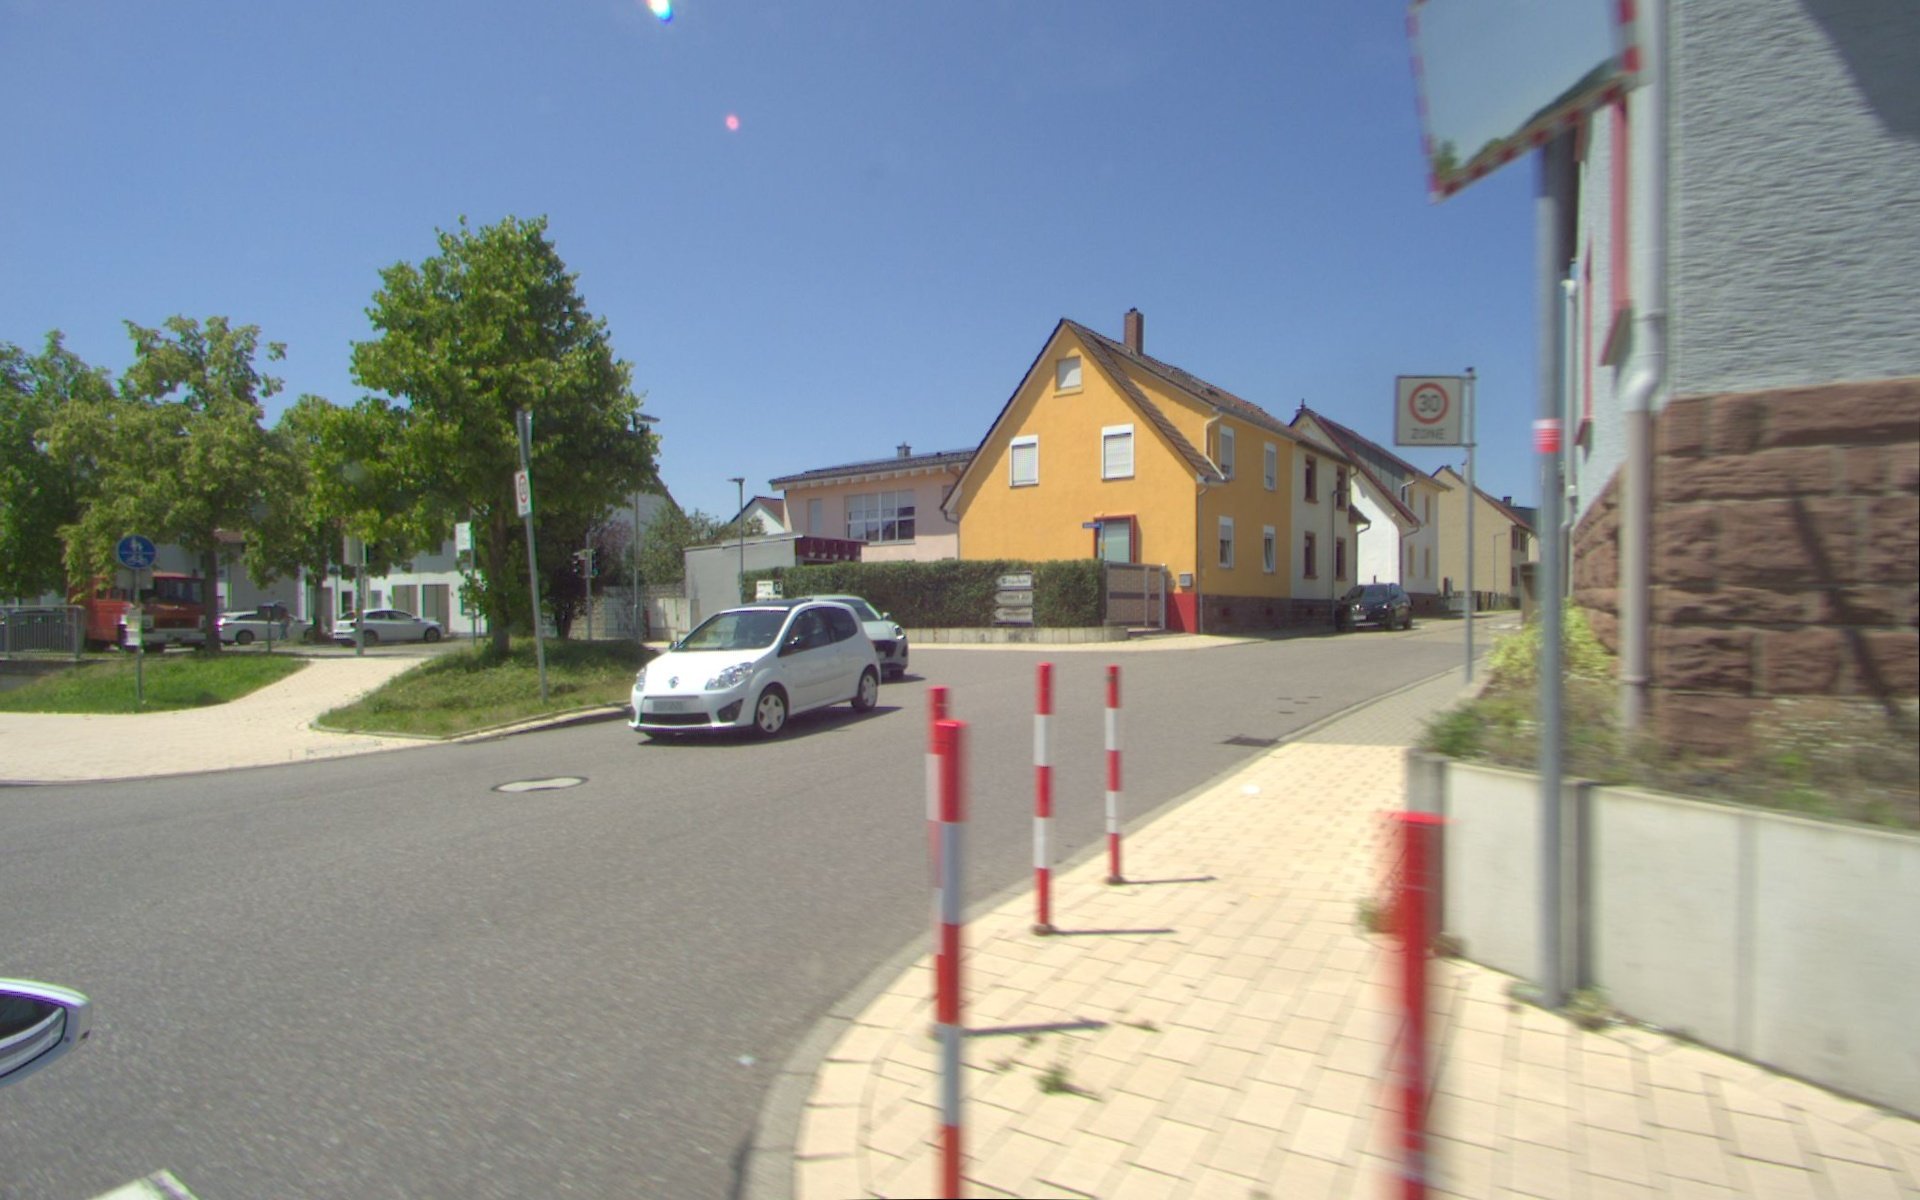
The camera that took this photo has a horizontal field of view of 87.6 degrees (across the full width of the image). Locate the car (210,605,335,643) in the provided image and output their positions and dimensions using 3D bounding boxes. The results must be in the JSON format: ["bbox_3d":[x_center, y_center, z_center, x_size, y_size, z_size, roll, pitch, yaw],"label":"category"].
[{"bbox_3d":[-31.663,1.074,46.230,1.732,1.510,4.395,-1,1,32],"label":"car"}]

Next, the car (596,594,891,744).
[{"bbox_3d":[-2.403,0.718,12.062,1.745,1.498,3.673,-2,0,20],"label":"car"}]

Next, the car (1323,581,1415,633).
[{"bbox_3d":[13.942,0.229,34.027,1.974,1.617,3.973,-2,0,36],"label":"car"}]

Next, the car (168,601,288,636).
[{"bbox_3d":[-35.760,0.868,49.038,1.732,1.510,4.395,-1,1,32],"label":"car"}]

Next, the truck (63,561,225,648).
[{"bbox_3d":[-24.247,0.175,29.722,5.183,2.365,2.129,-1,-1,31],"label":"truck"}]

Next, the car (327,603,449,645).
[{"bbox_3d":[-23.163,0.951,40.672,1.732,1.498,3.928,-1,1,32],"label":"car"}]

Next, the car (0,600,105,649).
[{"bbox_3d":[-30.180,0.780,32.040,1.724,1.518,3.978,-1,-1,33],"label":"car"}]

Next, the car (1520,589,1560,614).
[{"bbox_3d":[39.999,0.076,69.035,1.974,1.617,3.973,-2,0,36],"label":"car"}]

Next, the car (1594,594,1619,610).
[{"bbox_3d":[69.864,0.222,108.192,1.974,1.617,3.973,-2,0,36],"label":"car"}]

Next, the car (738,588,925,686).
[{"bbox_3d":[-2.517,0.629,18.774,1.752,1.556,4.098,-4,2,-35],"label":"car"}]

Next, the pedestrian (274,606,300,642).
[{"bbox_3d":[-29.606,1.033,44.067,0.602,1.532,0.740,-2,2,-8],"label":"pedestrian"}]
